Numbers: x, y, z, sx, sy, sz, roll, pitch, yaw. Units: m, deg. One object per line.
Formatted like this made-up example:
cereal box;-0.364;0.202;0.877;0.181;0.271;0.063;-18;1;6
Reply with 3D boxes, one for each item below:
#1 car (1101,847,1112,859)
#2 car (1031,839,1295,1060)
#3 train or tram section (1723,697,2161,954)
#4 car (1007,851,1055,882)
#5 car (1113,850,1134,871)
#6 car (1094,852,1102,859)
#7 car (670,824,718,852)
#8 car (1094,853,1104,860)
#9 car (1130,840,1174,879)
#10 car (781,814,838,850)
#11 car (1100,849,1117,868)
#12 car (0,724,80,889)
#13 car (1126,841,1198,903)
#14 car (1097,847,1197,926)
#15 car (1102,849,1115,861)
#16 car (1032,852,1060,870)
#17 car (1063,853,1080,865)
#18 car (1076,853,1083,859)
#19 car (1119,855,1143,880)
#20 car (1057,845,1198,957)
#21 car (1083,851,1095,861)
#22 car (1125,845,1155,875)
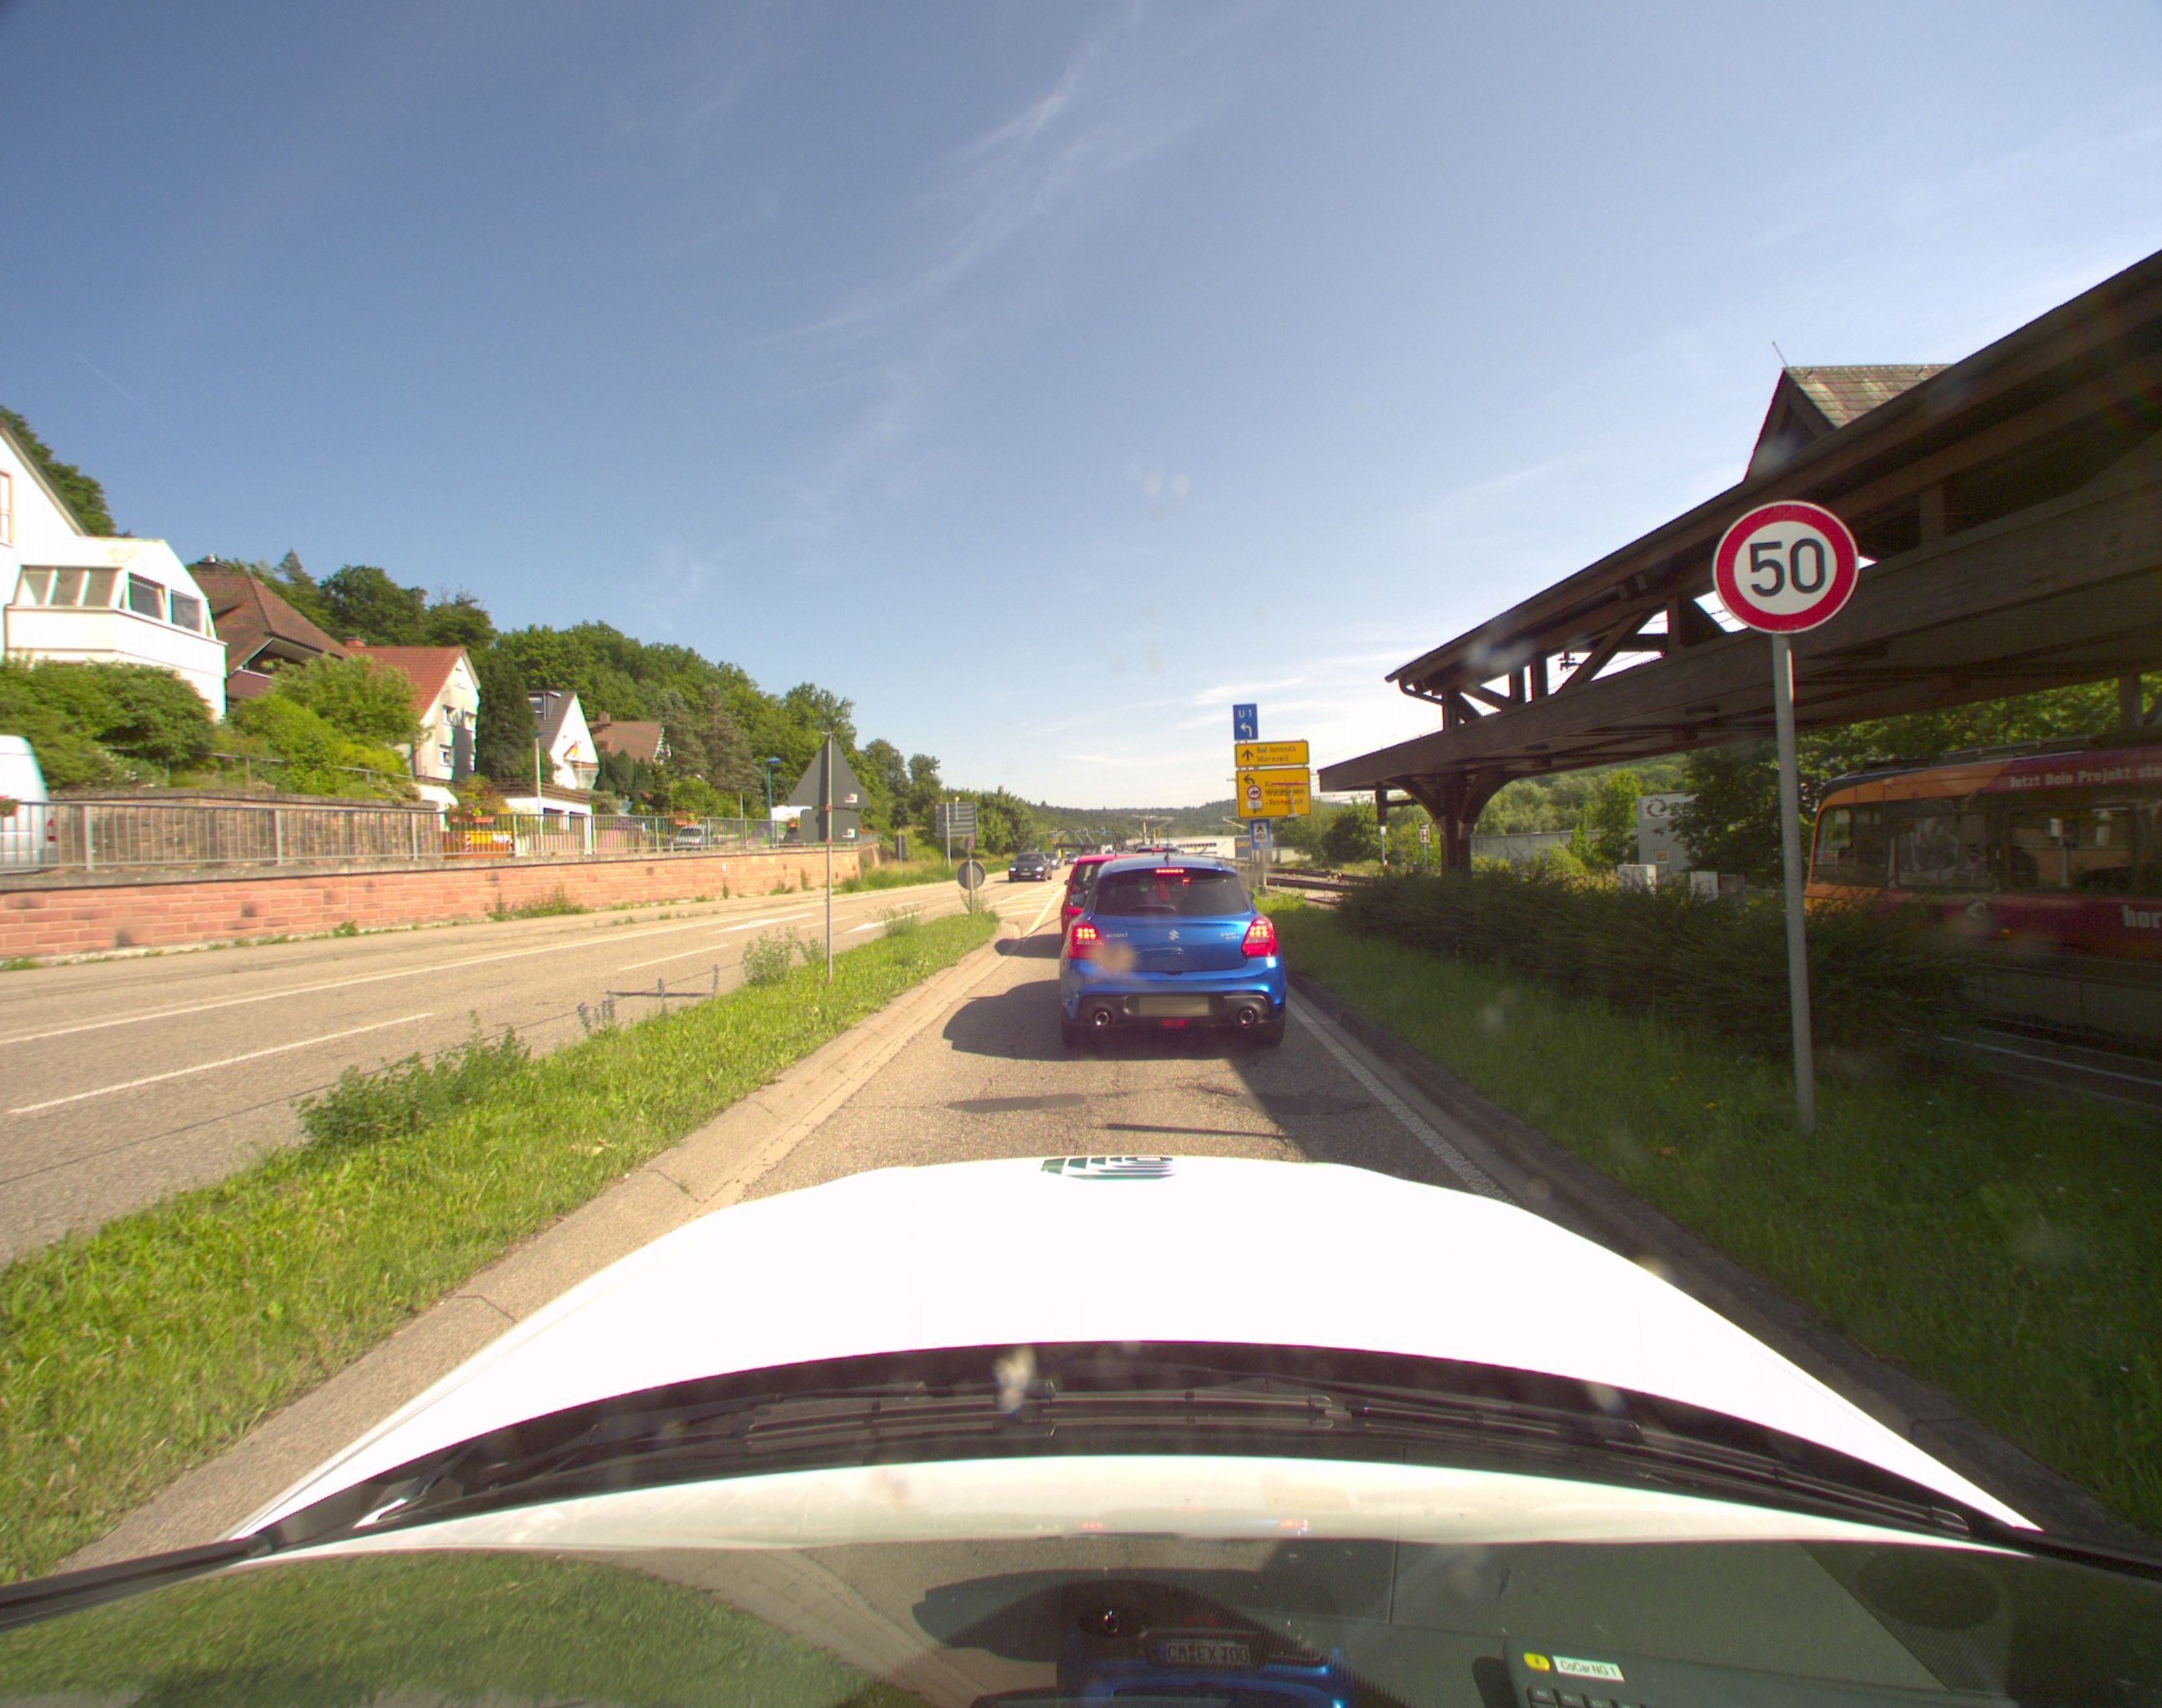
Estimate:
car;4.508;-0.165;144.115;1.986;2.144;4.722;0;0;2
car;0.633;0.670;7.791;1.862;1.548;4.001;-1;0;1
train or tram section;15.544;-0.380;12.056;2.746;3.364;12.050;0;1;1
car;-2.536;0.615;42.315;1.783;1.470;4.722;-1;0;5
car;4.270;0.640;82.427;1.986;2.013;4.002;1;1;2
car;4.063;0.386;196.104;1.986;1.591;4.001;0;0;1
car;-23.990;-0.951;50.664;1.897;1.629;3.981;-1;0;-14
car;3.707;0.509;166.650;1.986;1.554;4.217;0;0;2
car;3.322;0.233;38.727;1.985;1.736;4.004;1;0;4
car;-15.526;-1.253;46.884;2.017;1.920;4.724;1;1;-5
car;3.212;0.521;94.996;1.986;2.013;4.002;1;1;2
car;-17.452;-0.681;10.239;2.080;2.444;5.803;1;1;11
car;2.381;0.485;24.781;1.985;1.686;4.501;1;0;4
car;1.475;0.640;18.715;1.985;1.531;4.606;-2;0;4
car;4.399;0.082;129.484;1.986;1.816;4.002;1;1;2
car;-3.120;0.578;73.774;1.985;1.564;4.514;-1;0;4
car;-1.136;0.590;96.518;1.665;1.441;3.844;-1;0;3
car;-0.365;0.635;253.854;1.986;1.664;4.001;0;0;1
car;4.411;1.144;72.049;1.986;2.013;4.002;1;1;2
car;0.784;0.666;13.462;1.985;1.571;4.004;0;0;4
car;1.384;0.331;141.060;1.986;1.783;4.002;0;0;2
car;4.265;0.397;59.088;1.986;2.013;4.002;1;1;2
